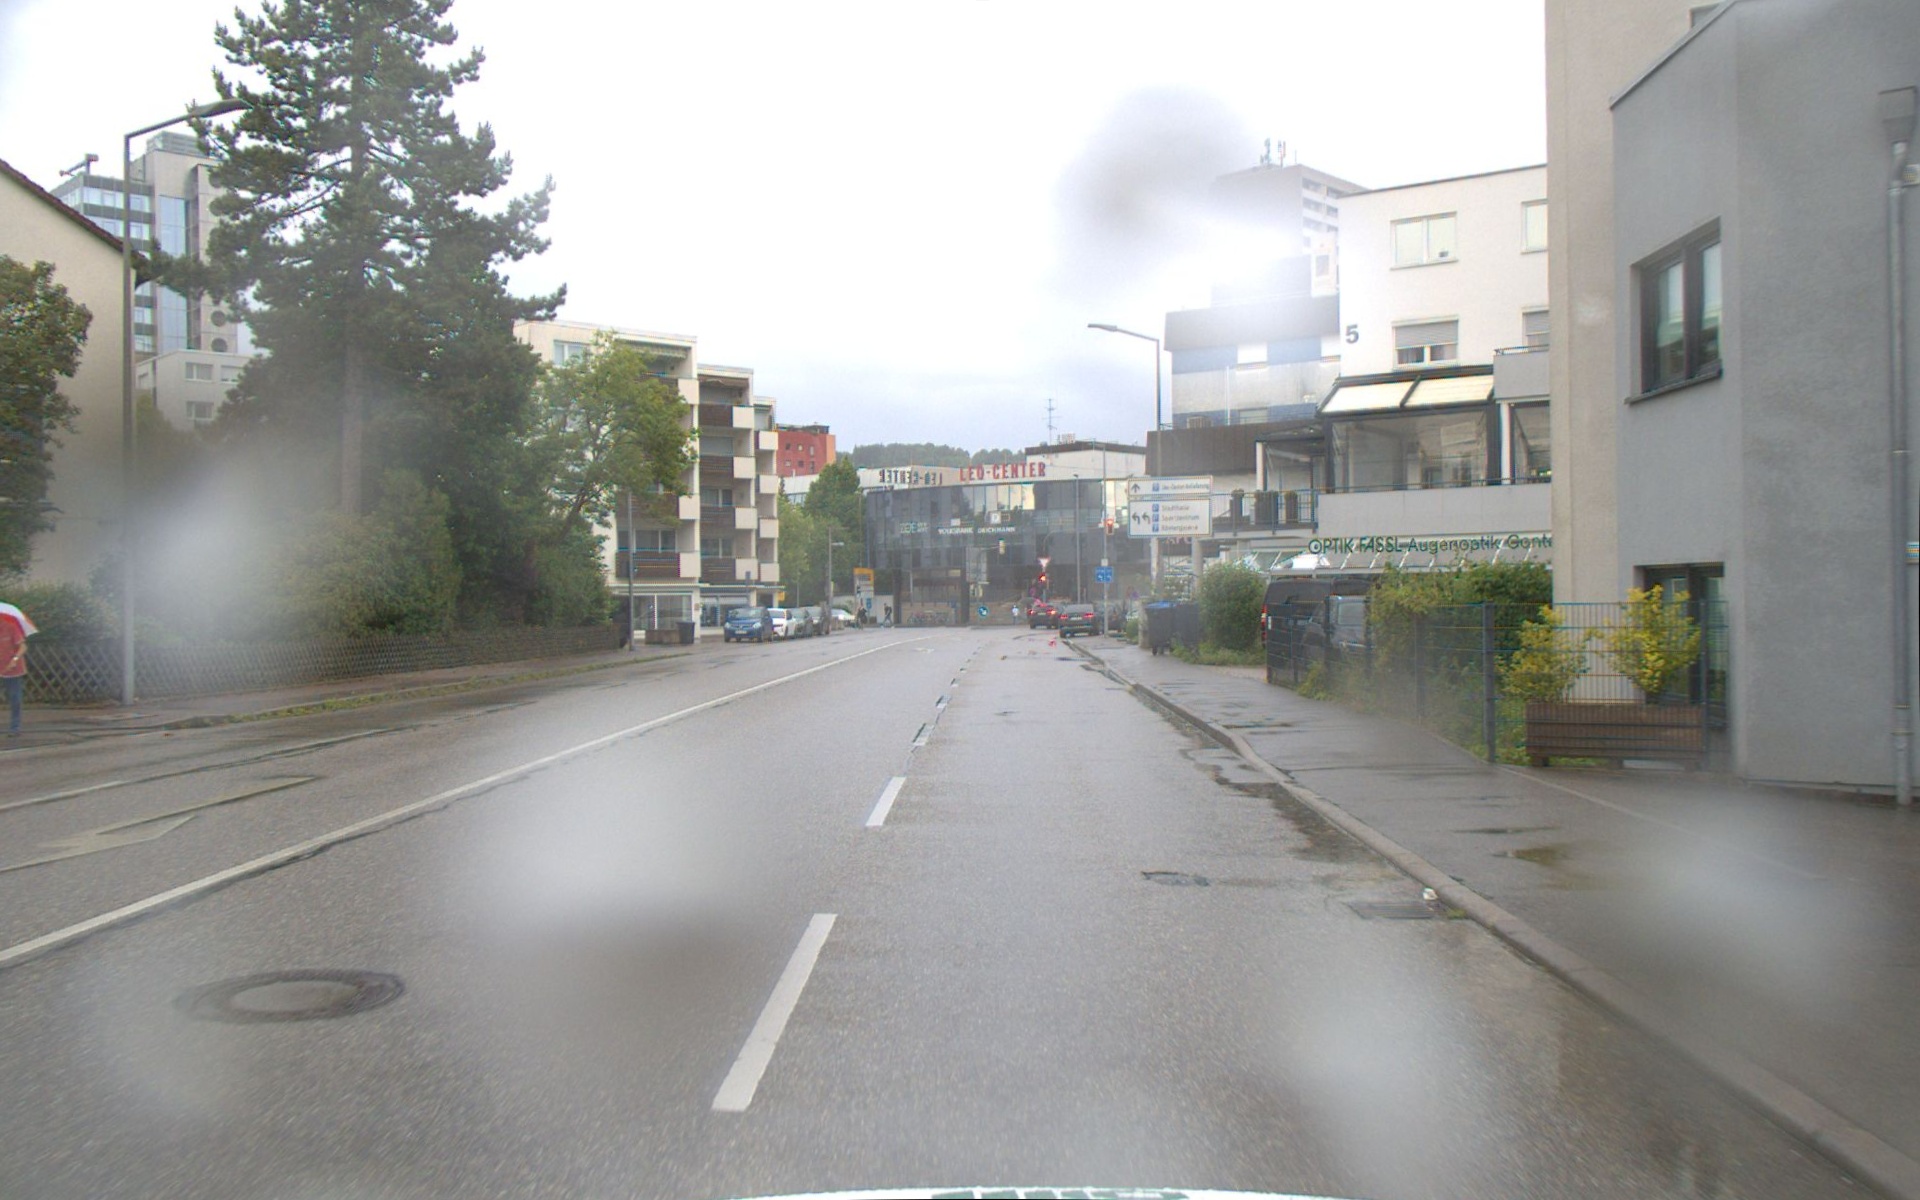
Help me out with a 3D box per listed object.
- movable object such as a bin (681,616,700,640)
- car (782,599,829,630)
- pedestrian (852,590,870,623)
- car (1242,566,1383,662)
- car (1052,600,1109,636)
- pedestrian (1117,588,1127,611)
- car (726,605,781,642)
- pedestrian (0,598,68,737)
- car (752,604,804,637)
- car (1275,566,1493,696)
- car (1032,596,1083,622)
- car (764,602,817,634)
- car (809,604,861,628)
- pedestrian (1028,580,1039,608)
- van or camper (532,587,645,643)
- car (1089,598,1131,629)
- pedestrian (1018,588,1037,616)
[{"bbox_3d":[-11.181,1.153,68.547,0.634,0.983,0.683,-1,0,3],"label":"movable object such as a bin"},{"bbox_3d":[-8.307,0.760,89.182,1.894,1.569,4.275,0,0,4],"label":"car"},{"bbox_3d":[-6.296,0.424,105.361,0.733,2.048,0.921,3,0,24],"label":"pedestrian"},{"bbox_3d":[8.160,0.288,37.975,1.955,2.049,4.774,-1,0,27],"label":"car"},{"bbox_3d":[5.589,0.856,76.294,1.951,1.560,4.650,0,-1,13],"label":"car"},{"bbox_3d":[14.146,-0.034,144.387,0.770,2.049,0.671,-1,-1,14],"label":"pedestrian"},{"bbox_3d":[-8.994,1.020,72.391,1.617,1.547,4.326,0,0,3],"label":"car"},{"bbox_3d":[-11.518,0.810,20.084,0.852,1.635,1.102,0,-1,-6],"label":"pedestrian"},{"bbox_3d":[-8.609,0.932,78.447,1.658,1.490,4.686,0,0,4],"label":"car"},{"bbox_3d":[6.476,0.427,25.836,1.954,1.816,4.688,-1,0,-3],"label":"car"},{"bbox_3d":[5.670,0.484,95.888,1.767,1.444,4.000,-1,0,21],"label":"car"},{"bbox_3d":[-8.535,0.874,83.669,1.894,1.569,4.523,0,0,4],"label":"car"},{"bbox_3d":[-9.437,1.189,124.799,1.976,1.538,4.383,2,1,-34],"label":"car"},{"bbox_3d":[4.602,-0.383,103.628,0.597,1.688,0.672,3,1,-2],"label":"pedestrian"},{"bbox_3d":[-14.061,0.535,62.377,1.982,1.958,5.140,-2,2,-41],"label":"van or camper"},{"bbox_3d":[7.968,0.703,87.327,1.662,1.512,4.003,-4,-1,12],"label":"car"},{"bbox_3d":[4.188,0.110,102.672,0.897,1.688,0.750,2,1,-24],"label":"pedestrian"}]
